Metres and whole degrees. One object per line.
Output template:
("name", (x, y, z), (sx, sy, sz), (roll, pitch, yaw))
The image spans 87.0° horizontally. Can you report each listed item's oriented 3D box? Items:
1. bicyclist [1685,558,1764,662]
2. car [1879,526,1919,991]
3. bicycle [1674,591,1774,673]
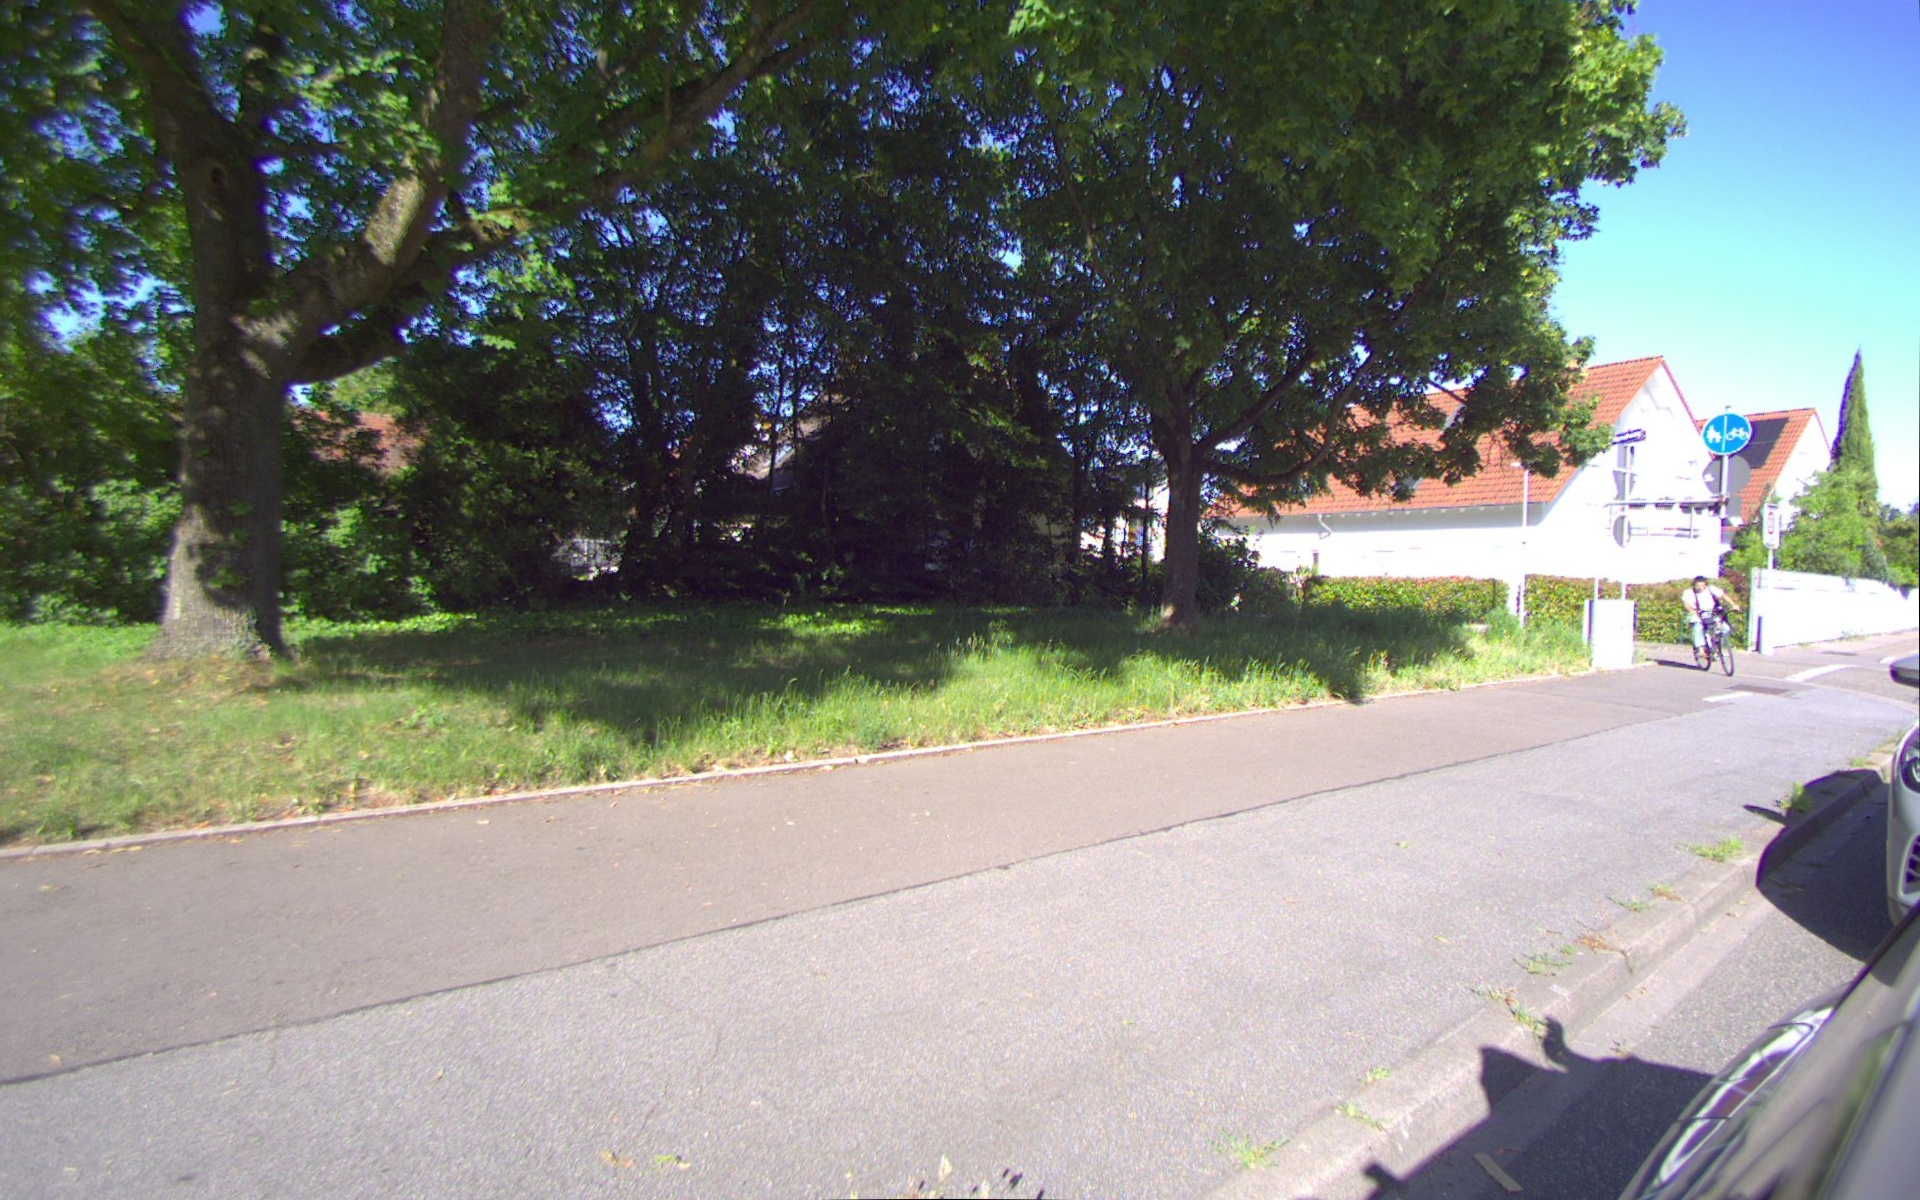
("bicyclist", (12.786, 0.144, 16.959), (0.573, 1.599, 0.993), (5, 6, 17))
("car", (5.633, 0.604, 4.431), (4.133, 1.710, 1.857), (0, 3, -41))
("bicycle", (12.767, 0.503, 16.991), (0.573, 1.110, 1.979), (5, 6, 16))
